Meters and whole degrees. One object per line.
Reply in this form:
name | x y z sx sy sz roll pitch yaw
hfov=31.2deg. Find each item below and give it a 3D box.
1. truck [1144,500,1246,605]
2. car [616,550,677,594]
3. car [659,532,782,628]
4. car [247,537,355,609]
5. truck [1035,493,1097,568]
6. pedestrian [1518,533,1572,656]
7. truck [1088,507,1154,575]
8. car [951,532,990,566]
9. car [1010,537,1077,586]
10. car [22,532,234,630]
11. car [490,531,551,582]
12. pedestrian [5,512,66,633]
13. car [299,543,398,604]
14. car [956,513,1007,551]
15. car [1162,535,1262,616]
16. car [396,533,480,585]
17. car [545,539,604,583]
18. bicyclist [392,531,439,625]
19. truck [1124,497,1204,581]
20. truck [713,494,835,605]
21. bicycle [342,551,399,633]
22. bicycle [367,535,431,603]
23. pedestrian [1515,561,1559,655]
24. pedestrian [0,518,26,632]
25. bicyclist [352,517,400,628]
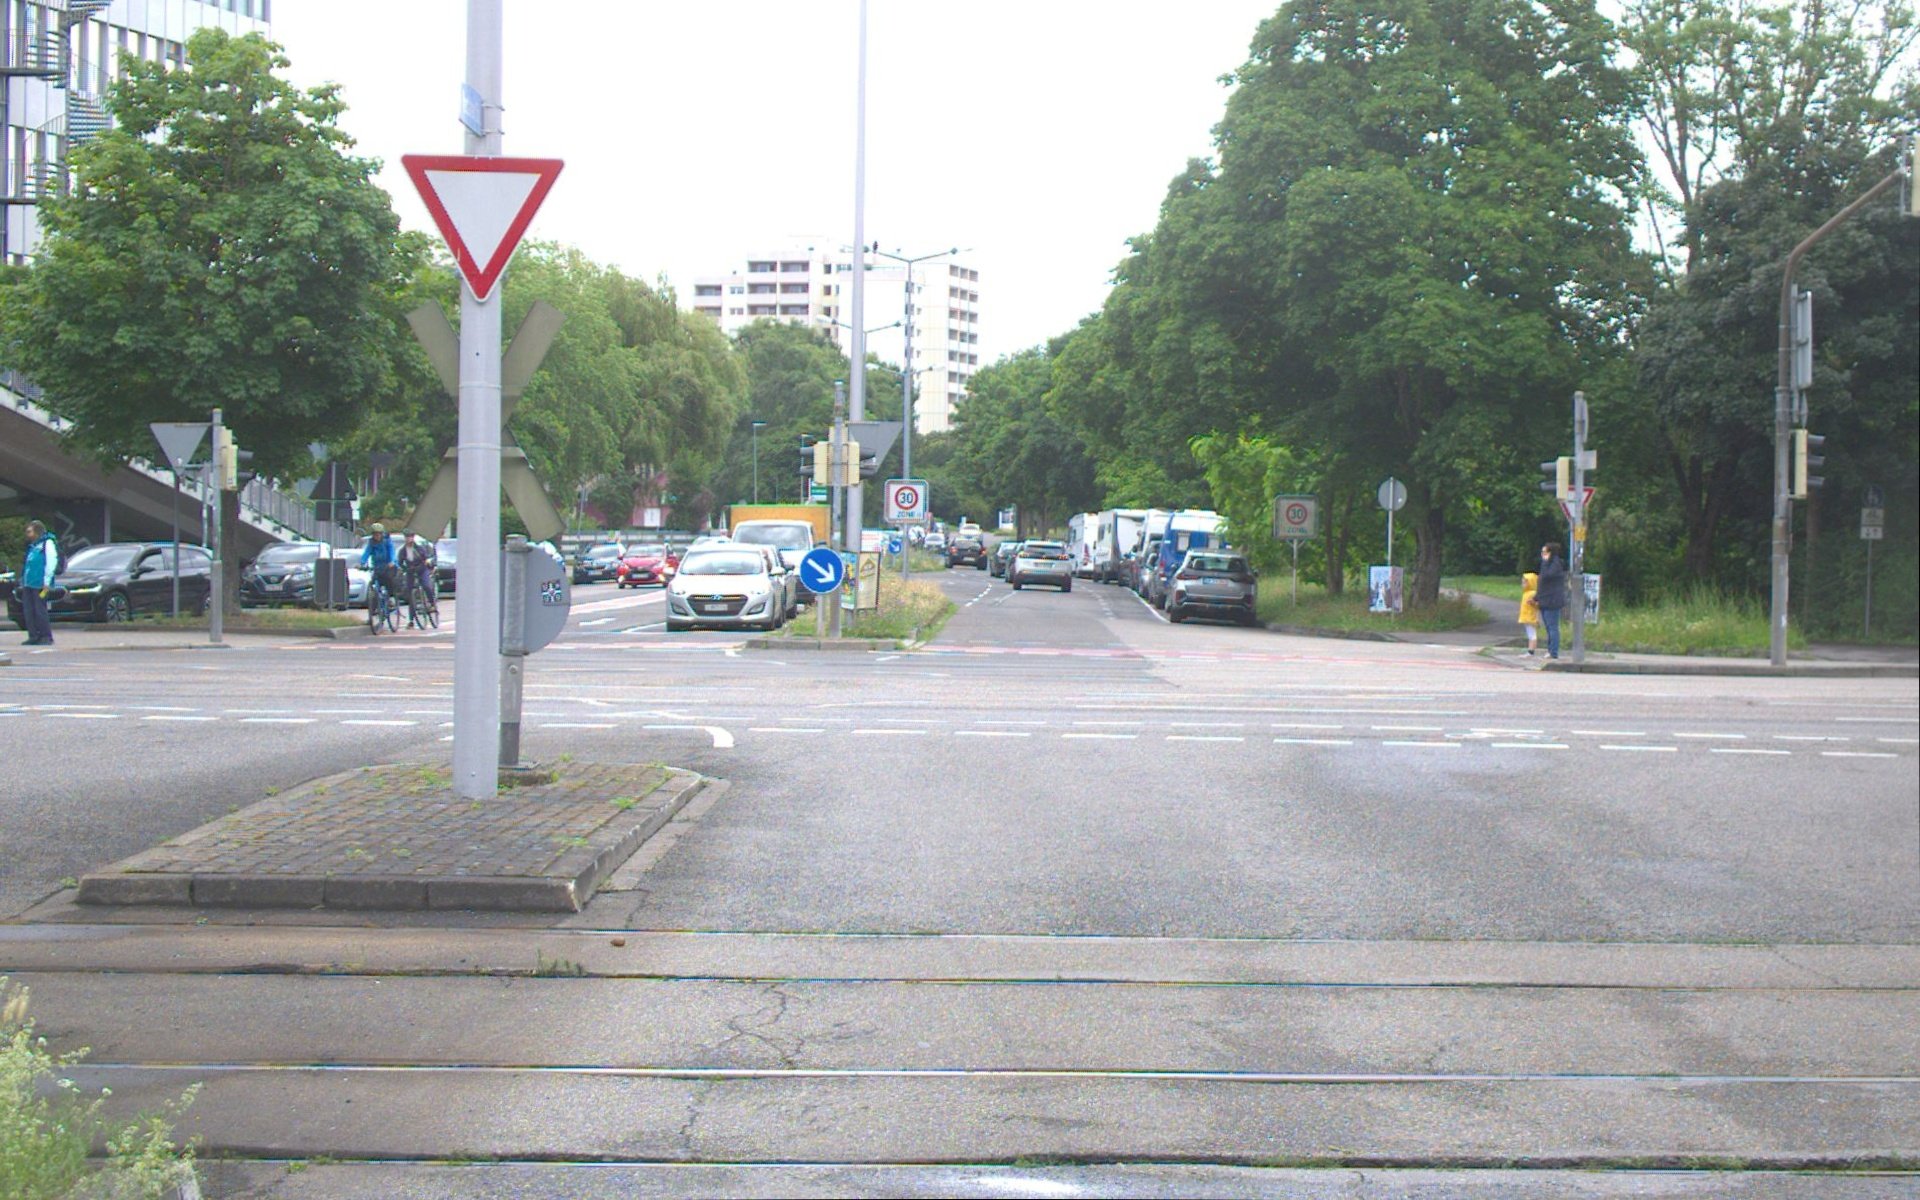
truck | 6.149 -1.241 90.722 2.174 2.647 6.247 0 1 -1
car | -10.138 -0.915 111.291 1.512 1.385 3.532 1 1 2
car | -3.993 -0.366 57.869 1.789 1.514 4.326 1 1 -1
car | -14.857 -0.624 77.647 1.671 1.546 3.892 1 1 0
truck | 4.382 -2.857 142.924 1.993 2.998 5.773 1 1 -4
pedestrian | 8.380 -0.088 49.234 0.657 1.744 0.459 1 1 -1
truck | 6.160 -2.250 132.137 1.993 2.564 5.379 1 1 -2
car | 0.480 -2.355 158.786 1.554 1.500 4.001 1 1 -3
car | 2.698 -1.259 111.788 2.020 1.500 4.000 1 1 -1
car | -13.819 -0.343 57.334 1.673 1.546 3.997 1 1 16
car | -13.659 -1.373 107.063 1.444 1.546 3.664 1 1 -1
pedestrian | -12.317 -0.371 45.820 0.687 1.599 0.488 1 1 -5
car | -14.754 -0.659 83.143 1.671 1.382 3.895 1 1 0
car | 0.888 -2.823 142.187 2.020 1.500 4.000 1 1 -1
car | 5.394 -0.547 73.931 1.784 1.656 4.000 1 1 -1
car | -14.509 -1.159 95.760 1.763 1.390 4.000 1 1 -1
car | -14.097 -1.454 125.790 1.671 1.546 4.000 1 1 0
bicyclist | -9.257 -0.374 58.432 0.679 1.589 0.695 1 0 -1
truck | 7.098 -2.123 120.064 1.993 2.828 5.732 1 1 -4
truck | -3.839 -1.079 71.896 2.155 2.191 5.840 1 1 0
bicycle | -9.414 -0.147 54.947 0.543 1.263 2.111 1 1 -1
bicycle | -9.397 -0.528 57.660 0.726 1.097 2.264 1 1 -1
pedestrian | 8.372 0.110 49.910 0.527 1.337 0.525 1 1 -1
pedestrian | -12.941 -0.344 45.787 0.917 1.505 0.404 1 1 -11
bicyclist | -9.447 -0.449 55.624 0.644 1.762 0.647 1 1 -1
